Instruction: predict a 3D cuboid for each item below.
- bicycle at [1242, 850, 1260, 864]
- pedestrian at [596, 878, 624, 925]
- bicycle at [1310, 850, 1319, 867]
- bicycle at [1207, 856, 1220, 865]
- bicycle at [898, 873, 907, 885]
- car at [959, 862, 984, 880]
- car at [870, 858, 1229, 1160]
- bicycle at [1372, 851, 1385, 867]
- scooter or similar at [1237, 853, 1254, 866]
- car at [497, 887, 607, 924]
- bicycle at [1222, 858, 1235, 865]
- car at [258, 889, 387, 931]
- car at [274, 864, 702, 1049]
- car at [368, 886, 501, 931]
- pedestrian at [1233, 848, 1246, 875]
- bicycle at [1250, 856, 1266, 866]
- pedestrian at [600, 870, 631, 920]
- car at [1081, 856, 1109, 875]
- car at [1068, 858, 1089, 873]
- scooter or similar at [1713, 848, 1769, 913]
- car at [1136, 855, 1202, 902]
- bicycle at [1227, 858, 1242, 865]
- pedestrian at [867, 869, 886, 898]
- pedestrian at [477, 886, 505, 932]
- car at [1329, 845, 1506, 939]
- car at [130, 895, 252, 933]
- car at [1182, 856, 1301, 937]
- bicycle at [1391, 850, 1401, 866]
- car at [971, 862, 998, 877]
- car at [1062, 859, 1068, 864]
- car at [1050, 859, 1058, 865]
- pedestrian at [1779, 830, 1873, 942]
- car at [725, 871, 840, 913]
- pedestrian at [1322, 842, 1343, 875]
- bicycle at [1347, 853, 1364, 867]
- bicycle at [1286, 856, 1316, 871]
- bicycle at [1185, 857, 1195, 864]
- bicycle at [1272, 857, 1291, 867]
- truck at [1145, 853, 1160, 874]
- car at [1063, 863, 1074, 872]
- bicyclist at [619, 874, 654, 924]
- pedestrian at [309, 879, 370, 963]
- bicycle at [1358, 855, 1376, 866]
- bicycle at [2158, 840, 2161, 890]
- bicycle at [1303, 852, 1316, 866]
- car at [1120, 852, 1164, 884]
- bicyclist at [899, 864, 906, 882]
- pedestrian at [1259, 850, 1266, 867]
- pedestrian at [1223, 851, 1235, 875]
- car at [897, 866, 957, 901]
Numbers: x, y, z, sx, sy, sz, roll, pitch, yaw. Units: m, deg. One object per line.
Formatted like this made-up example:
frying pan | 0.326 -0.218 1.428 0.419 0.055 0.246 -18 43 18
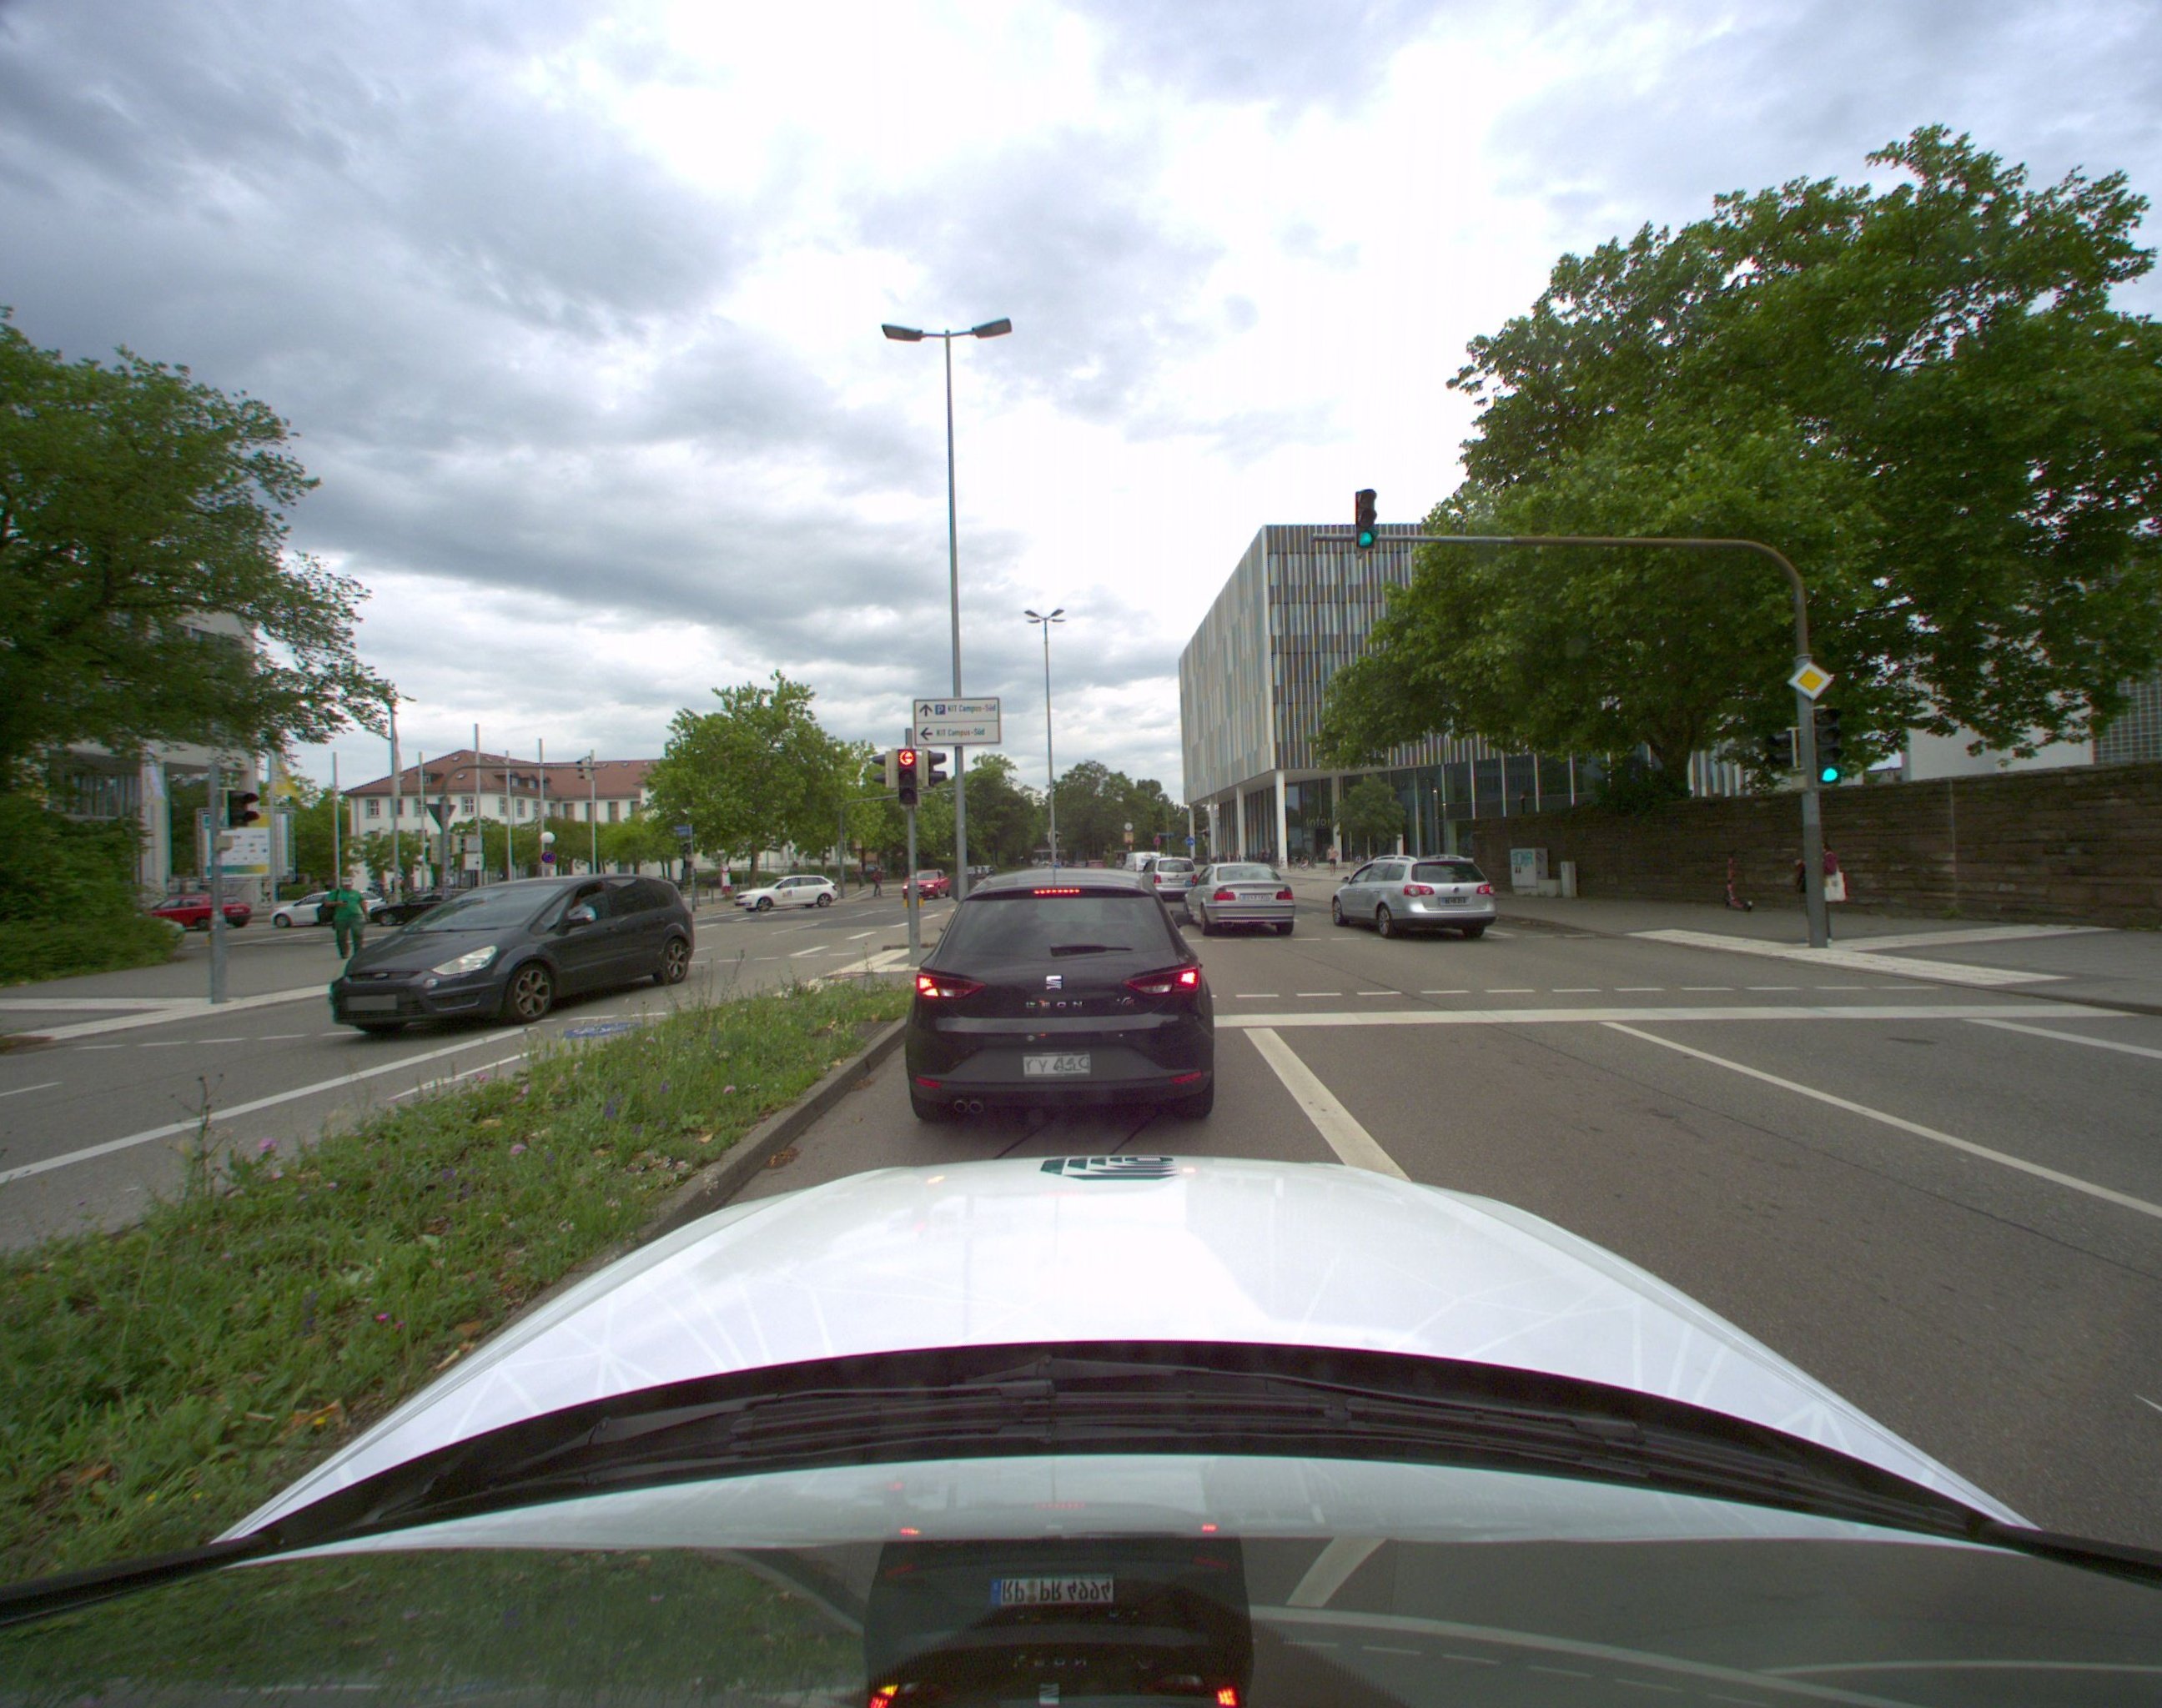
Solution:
bicycle | 16.169 0.275 77.519 1.785 1.211 0.564 -4 0 -32
pedestrian | -16.253 1.640 28.073 0.794 1.558 0.692 0 -4 -33
bicycle | 18.401 0.371 64.116 0.522 1.253 1.674 -4 0 20
bicycle | 14.913 0.718 91.623 1.379 0.942 0.489 -3 0 8
bicycle | -16.740 2.329 76.437 0.486 1.005 1.590 -1 1 2
car | -11.662 1.813 86.708 1.899 1.717 4.002 -4 0 2
car | -0.027 0.768 5.864 1.745 1.432 3.773 -1 0 4
bicycle | 21.656 0.348 59.244 0.802 1.056 1.959 -3 0 21
scooter or similar | 15.790 0.515 78.106 1.682 1.106 0.494 -4 0 -30
car | -23.288 2.251 35.960 3.649 1.223 1.562 -2 7 -5
bicycle | 15.698 0.805 86.685 1.232 0.705 0.490 -4 0 10
car | -33.055 2.420 35.573 3.868 1.539 1.684 -2 2 -2
car | -6.828 1.030 10.155 1.913 1.664 4.400 -4 -1 2
car | -27.704 2.302 35.053 4.059 1.452 1.615 -3 5 -16
pedestrian | 10.841 0.496 55.716 0.684 1.781 0.677 -2 0 1
bicycle | 16.464 0.622 75.802 1.445 0.857 0.362 -4 0 -25
pedestrian | -17.005 1.509 29.770 0.843 1.740 0.824 -2 -5 -22
car | 1.212 0.989 73.927 1.948 1.624 3.738 -1 0 -9
car | -0.338 1.320 97.492 1.913 1.664 4.104 -4 0 -7
scooter or similar | 13.082 0.499 16.177 0.428 1.179 1.714 -4 0 26
car | 3.223 0.867 30.534 1.726 1.603 4.099 -1 0 -4
bicycle | 15.834 0.787 83.990 1.368 0.705 0.416 -4 0 4
pedestrian | -11.660 1.673 46.462 0.873 1.586 0.542 -3 0 -5
pedestrian | -20.265 1.906 27.989 0.572 1.527 0.842 -2 -5 -22
car | 6.273 0.691 15.799 1.817 1.551 4.531 0 -1 4
car | -38.197 2.552 35.024 3.341 1.479 1.559 -1 0 -5
car | 3.188 0.777 16.933 1.716 1.414 4.247 -1 0 1
bicycle | 22.532 0.288 58.297 0.616 1.056 1.959 -4 0 21
car | -11.429 1.831 96.511 1.746 1.587 4.016 -4 0 15
car | -4.453 2.052 220.553 1.501 1.193 3.161 -4 0 -2
car | -7.125 2.056 215.183 1.692 1.503 4.003 -4 0 -5
pedestrian | 11.013 0.459 12.062 0.657 1.561 0.636 -6 0 1
car | -12.757 1.613 34.970 4.252 1.431 1.689 -4 0 -44
pedestrian | 14.270 0.253 46.199 0.844 1.765 0.768 -3 0 1
bicycle | 20.570 0.450 60.995 0.688 0.946 1.997 -4 0 32
bicycle | 15.106 0.641 55.990 1.892 0.898 0.693 -4 0 -20
bicycle | 14.550 0.845 108.805 1.262 0.848 0.479 1 -2 -21
bicycle | 17.071 0.691 69.434 1.475 0.748 0.566 -4 0 -2
truck | 7.713 1.011 88.338 1.313 2.243 3.403 -3 0 2
car | -2.309 2.392 147.402 1.894 1.354 3.880 -4 0 -2
bicyclist | -15.176 1.522 27.818 0.664 1.635 0.961 -1 -1 0
pedestrian | -16.140 1.428 17.748 0.948 1.759 0.865 0 -2 -42
bicycle | 21.185 0.514 60.298 1.535 0.716 0.513 -4 0 -42
bicycle | 13.543 0.389 8.919 0.801 1.174 1.952 -5 0 -3
bicycle | 18.790 0.404 66.901 0.614 1.045 1.716 -4 0 28
car | 3.831 0.839 51.866 1.965 1.972 4.332 0 0 -7
bicyclist | -16.744 1.760 76.423 0.489 1.624 0.588 0 1 1
pedestrian | 15.278 0.366 68.495 0.469 1.361 0.447 -3 0 12
pedestrian | 10.112 0.610 55.752 0.684 1.640 0.633 -1 0 1
car | -7.354 1.402 39.287 1.706 1.418 4.298 -3 0 4
